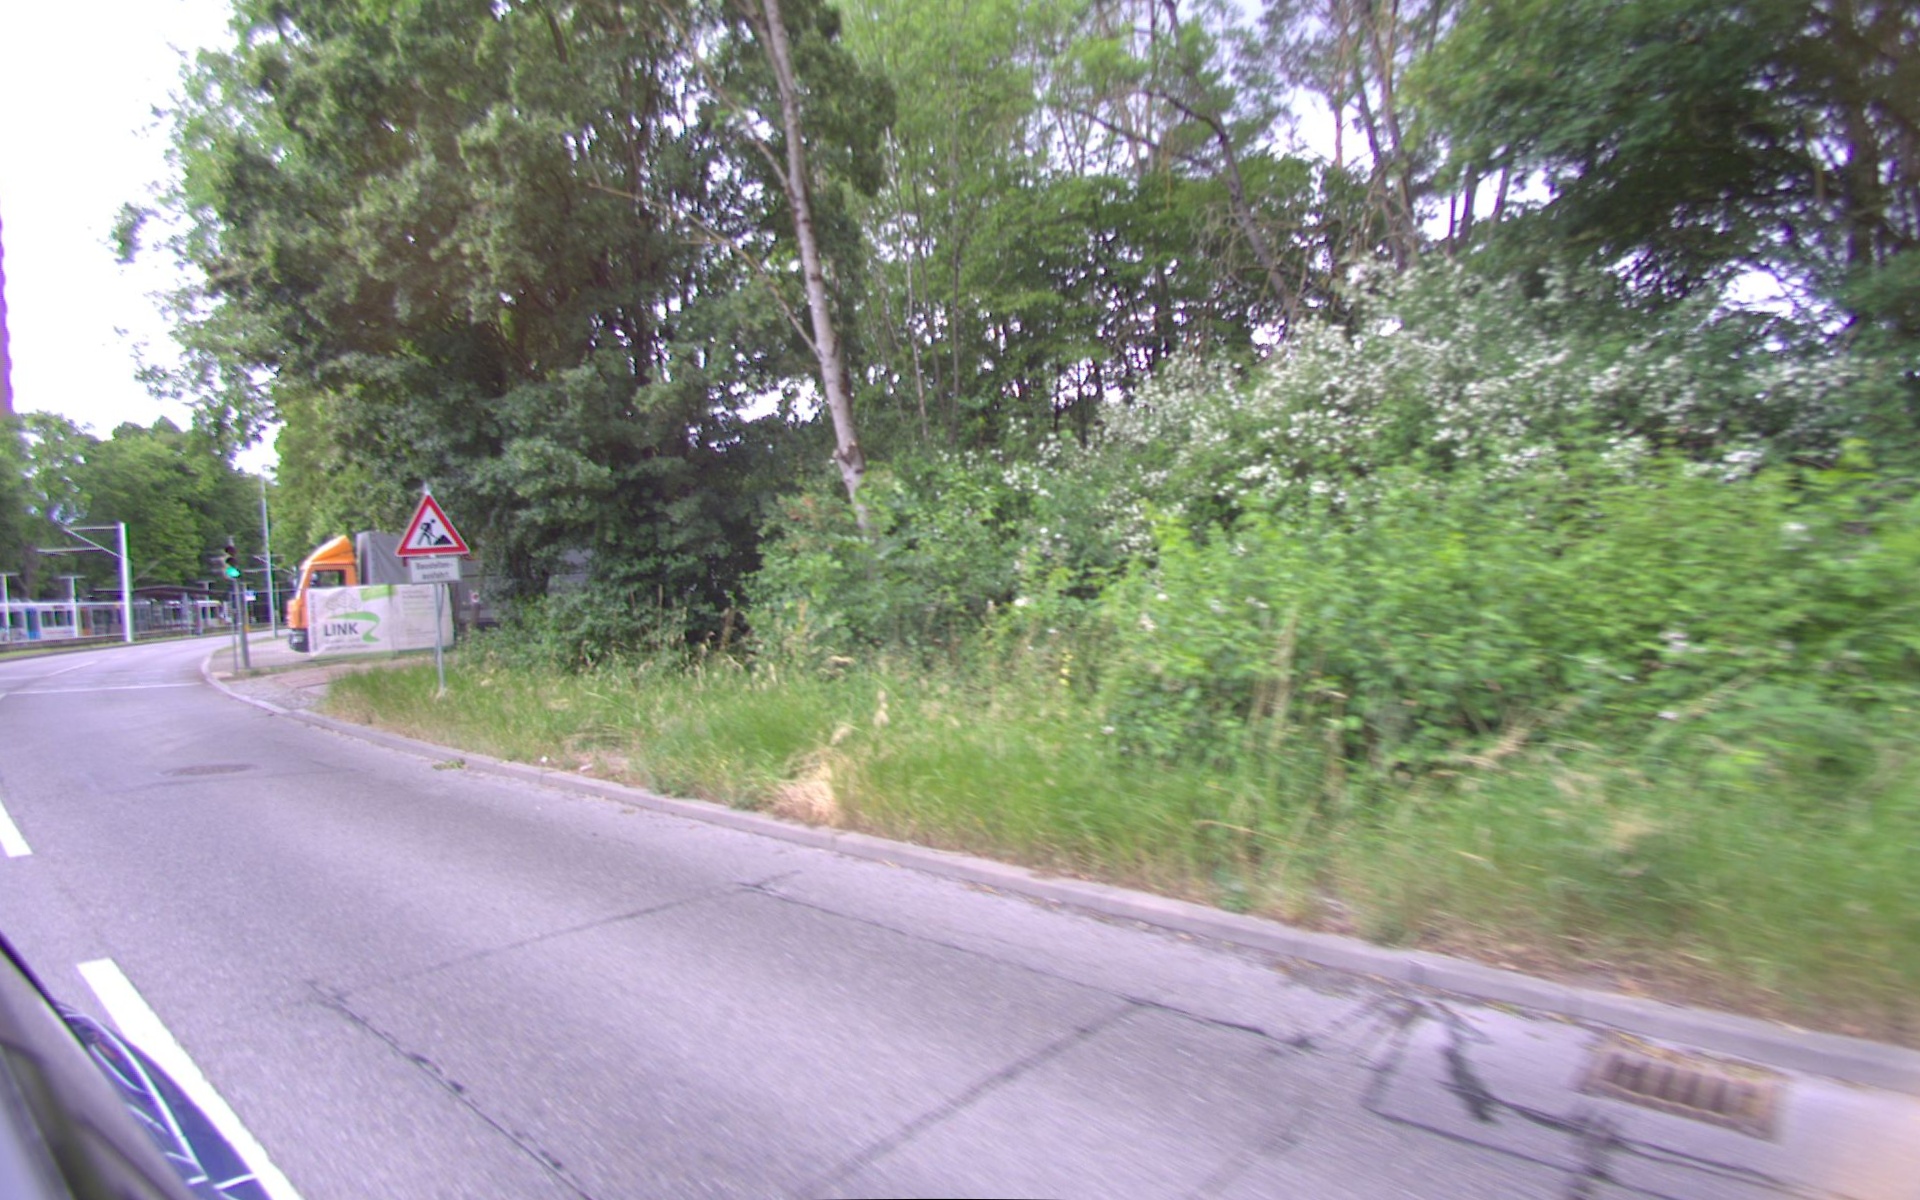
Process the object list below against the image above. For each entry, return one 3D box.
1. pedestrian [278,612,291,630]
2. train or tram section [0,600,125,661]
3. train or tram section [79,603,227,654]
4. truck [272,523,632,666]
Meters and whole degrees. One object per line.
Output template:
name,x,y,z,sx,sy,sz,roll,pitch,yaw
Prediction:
pedestrian,-69.949,2.135,104.805,0.970,1.771,0.732,-5,0,-25
train or tram section,-64.467,2.086,70.502,2.775,3.826,18.992,-5,1,-18
train or tram section,-69.978,2.263,88.614,2.776,3.764,18.585,-5,1,-15
truck,-14.805,-0.345,30.128,9.113,3.557,2.571,-5,2,-37
